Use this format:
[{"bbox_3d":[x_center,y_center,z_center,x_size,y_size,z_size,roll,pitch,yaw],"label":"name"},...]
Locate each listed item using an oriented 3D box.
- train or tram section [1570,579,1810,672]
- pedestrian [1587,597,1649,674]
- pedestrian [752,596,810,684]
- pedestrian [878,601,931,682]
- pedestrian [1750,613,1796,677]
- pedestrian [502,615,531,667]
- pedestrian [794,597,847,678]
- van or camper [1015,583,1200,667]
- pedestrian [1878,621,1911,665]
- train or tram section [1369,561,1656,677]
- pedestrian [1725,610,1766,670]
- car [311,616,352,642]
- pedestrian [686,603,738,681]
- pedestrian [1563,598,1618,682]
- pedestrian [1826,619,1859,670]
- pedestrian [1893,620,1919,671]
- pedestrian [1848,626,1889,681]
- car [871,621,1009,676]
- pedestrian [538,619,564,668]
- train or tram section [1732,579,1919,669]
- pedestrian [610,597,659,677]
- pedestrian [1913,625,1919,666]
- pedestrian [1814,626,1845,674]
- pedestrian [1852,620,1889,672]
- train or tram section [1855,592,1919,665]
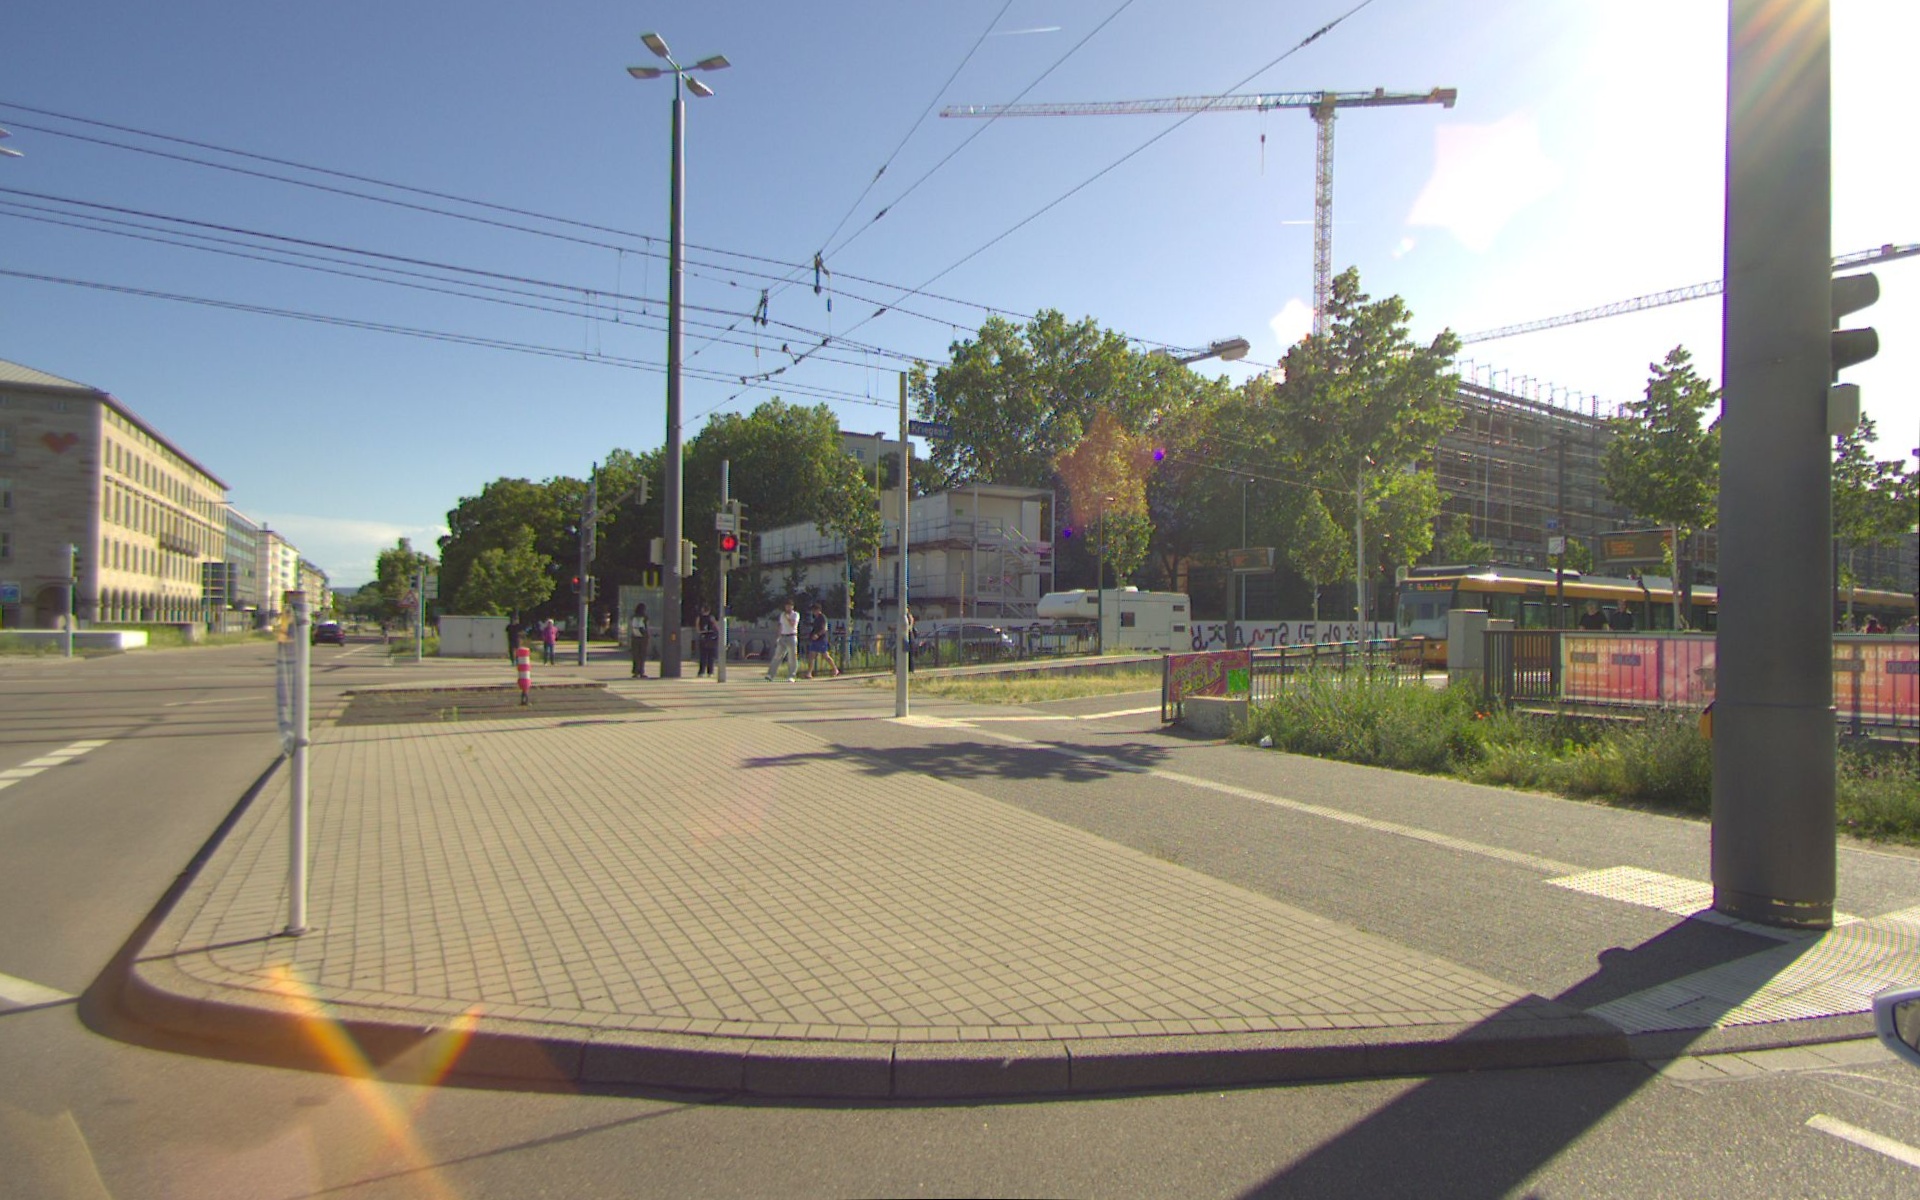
[{"bbox_3d":[30.925,1.112,42.015,15.800,3.366,2.830,2,0,-34],"label":"train or tram section"},{"bbox_3d":[15.992,0.851,24.413,1.178,1.799,0.868,1,1,-36],"label":"pedestrian"},{"bbox_3d":[-3.884,0.864,21.813,0.967,1.847,0.794,1,-1,-36],"label":"pedestrian"},{"bbox_3d":[-1.311,0.973,23.725,0.967,1.847,0.794,1,-1,-36],"label":"pedestrian"},{"bbox_3d":[23.536,1.293,29.071,0.969,1.799,0.785,1,1,-36],"label":"pedestrian"},{"bbox_3d":[-15.922,1.468,36.062,0.687,1.847,0.595,0,-1,20],"label":"pedestrian"},{"bbox_3d":[-3.311,0.880,23.787,0.967,1.847,0.794,1,-1,-36],"label":"pedestrian"},{"bbox_3d":[5.782,1.000,38.777,7.269,2.976,2.588,2,-2,-35],"label":"van or camper"},{"bbox_3d":[36.636,1.676,39.375,0.852,1.717,0.737,2,-1,-33],"label":"pedestrian"},{"bbox_3d":[19.033,0.711,33.977,12.937,3.354,2.853,2,0,-34],"label":"train or tram section"},{"bbox_3d":[24.197,1.233,30.961,0.818,1.799,0.756,1,1,-36],"label":"pedestrian"},{"bbox_3d":[-41.880,1.925,66.993,1.975,1.622,3.972,2,-2,-27],"label":"car"},{"bbox_3d":[-6.003,1.003,24.329,0.967,1.847,0.794,1,-1,-36],"label":"pedestrian"},{"bbox_3d":[13.878,0.863,22.114,0.950,1.799,0.698,1,1,-36],"label":"pedestrian"},{"bbox_3d":[32.284,1.614,36.744,1.064,1.834,0.667,2,-2,-34],"label":"pedestrian"},{"bbox_3d":[35.387,1.687,37.281,0.997,1.875,0.881,2,-1,-33],"label":"pedestrian"},{"bbox_3d":[27.948,1.650,30.905,0.852,1.650,0.737,2,-1,-32],"label":"pedestrian"},{"bbox_3d":[-0.641,1.607,33.865,4.324,1.730,1.933,2,-1,-35],"label":"car"},{"bbox_3d":[-15.563,1.655,38.222,0.687,1.847,0.595,0,-1,20],"label":"pedestrian"},{"bbox_3d":[37.662,1.093,42.831,15.027,3.323,2.852,2,0,-34],"label":"train or tram section"},{"bbox_3d":[-7.661,0.873,23.661,0.864,1.847,0.802,1,-1,-1],"label":"pedestrian"},{"bbox_3d":[39.566,1.879,41.025,0.852,1.650,0.737,2,-1,-32],"label":"pedestrian"},{"bbox_3d":[28.851,1.646,33.326,0.583,1.533,0.642,1,1,-36],"label":"pedestrian"},{"bbox_3d":[32.621,1.633,35.997,1.020,1.834,0.765,2,-2,-34],"label":"pedestrian"},{"bbox_3d":[52.920,1.656,53.192,21.913,3.323,2.852,2,0,-34],"label":"train or tram section"}]
